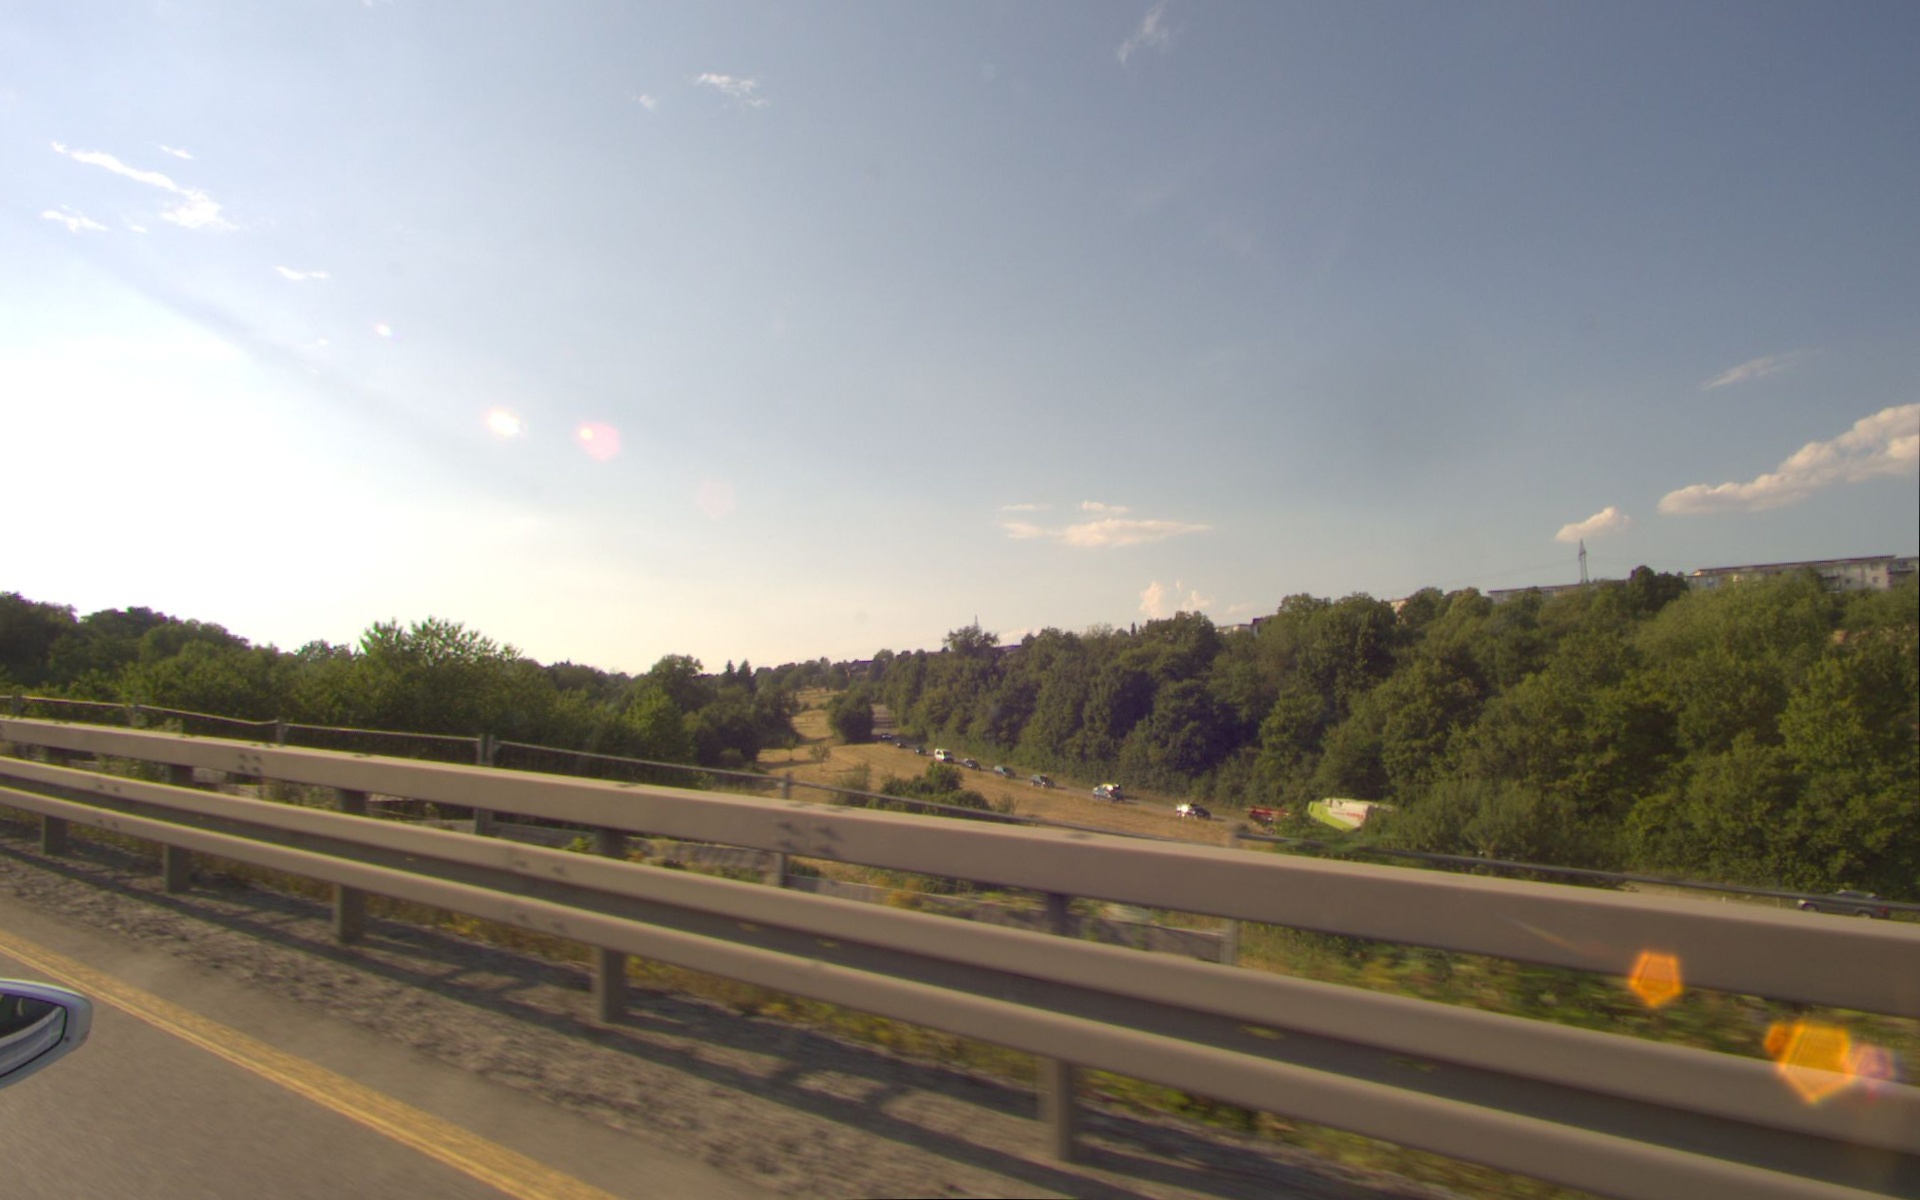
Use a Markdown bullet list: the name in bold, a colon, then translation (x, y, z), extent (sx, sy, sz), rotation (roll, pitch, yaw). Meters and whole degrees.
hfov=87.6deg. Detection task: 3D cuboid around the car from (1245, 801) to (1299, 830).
- **car**: translation (29.667, 20.502, 95.415), extent (1.684, 1.858, 5.102), rotation (1, -2, -32)
